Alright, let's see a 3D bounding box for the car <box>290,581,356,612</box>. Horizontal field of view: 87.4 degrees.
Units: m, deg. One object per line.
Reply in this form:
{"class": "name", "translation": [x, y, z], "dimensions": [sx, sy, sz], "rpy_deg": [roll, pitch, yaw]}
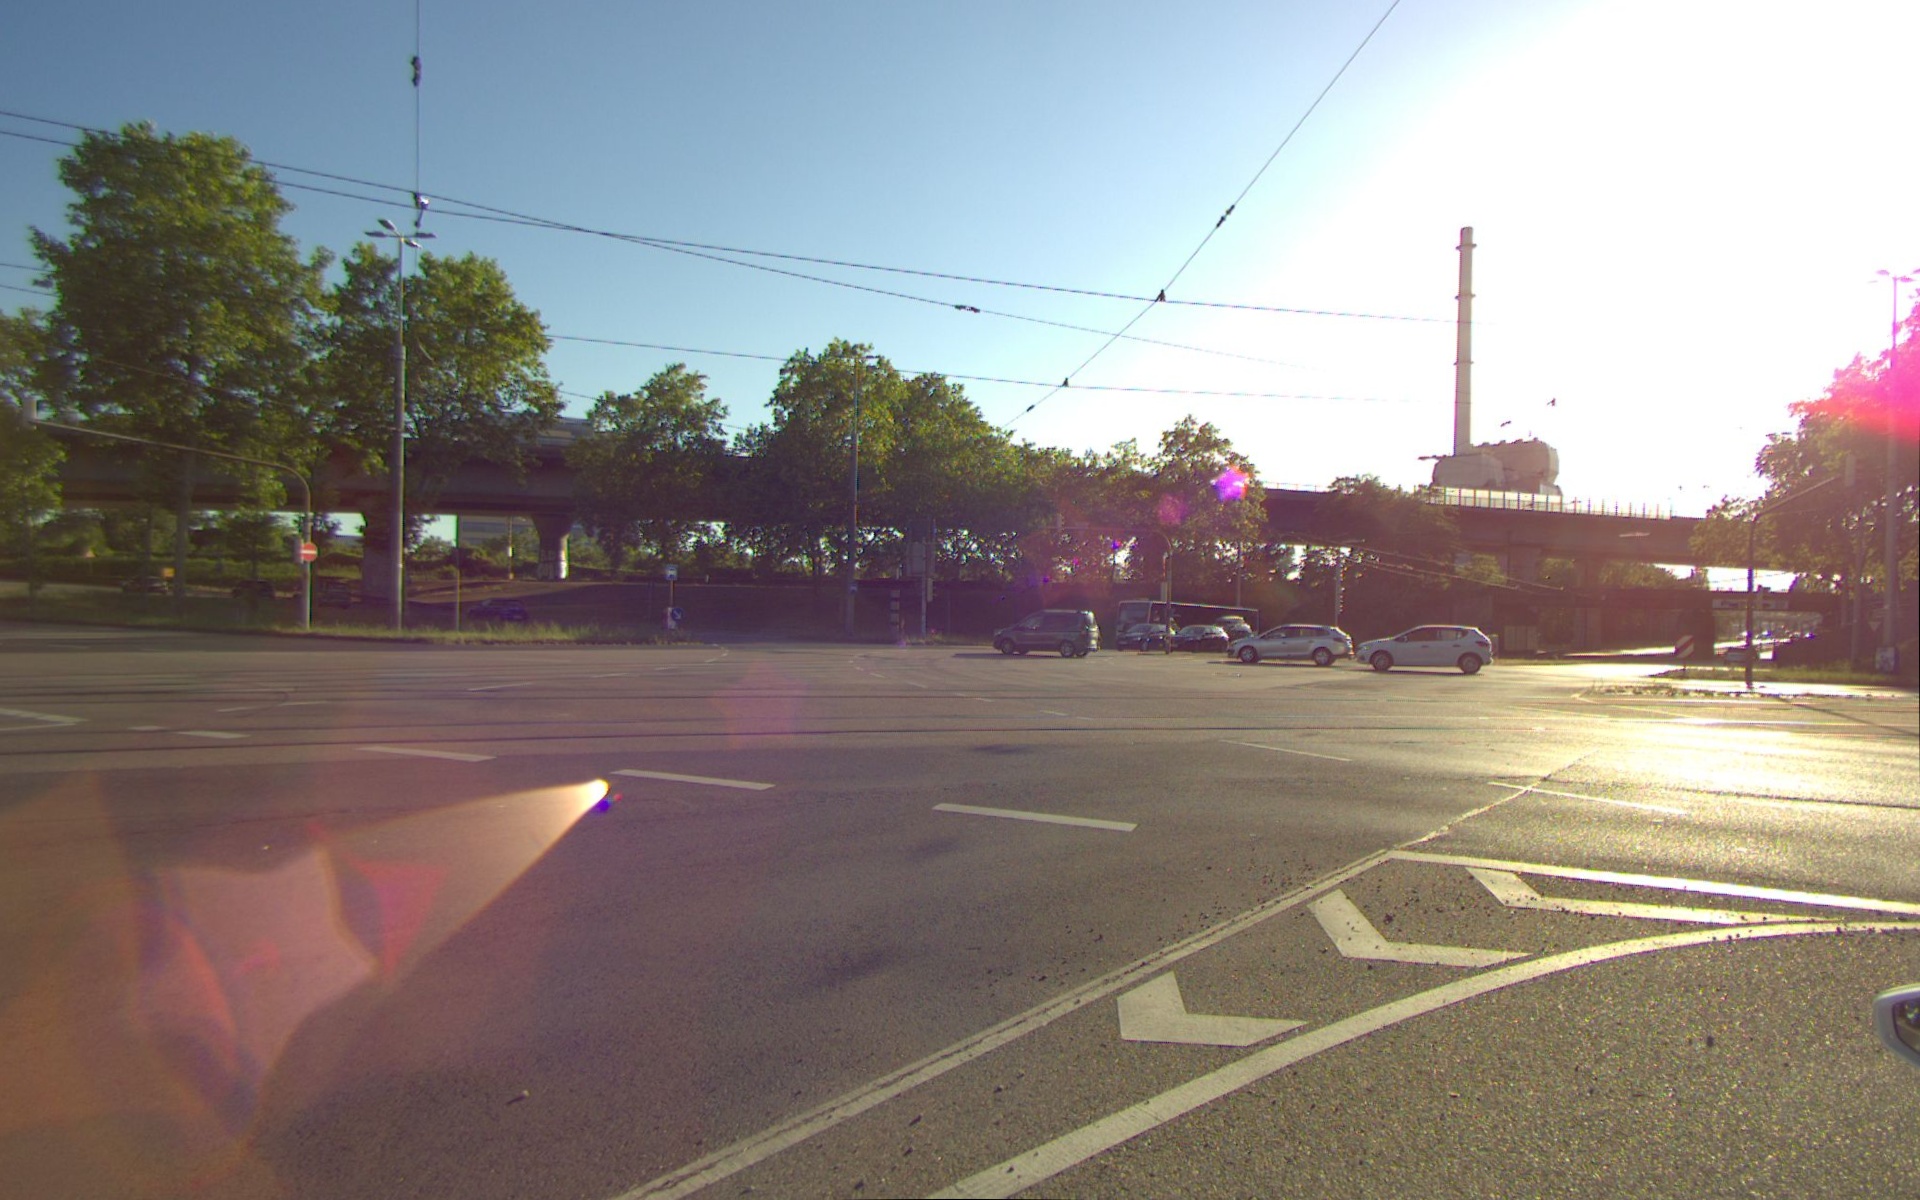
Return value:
{"class": "car", "translation": [-42.751, -0.261, 67.399], "dimensions": [4.624, 1.930, 1.995], "rpy_deg": [2, -1, 33]}

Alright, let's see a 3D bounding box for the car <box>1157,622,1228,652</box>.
{"class": "car", "translation": [11.915, 1.890, 51.299], "dimensions": [1.693, 1.372, 4.071], "rpy_deg": [1, -1, 43]}

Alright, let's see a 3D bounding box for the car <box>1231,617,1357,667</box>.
{"class": "car", "translation": [12.528, 1.537, 37.724], "dimensions": [4.288, 1.630, 1.855], "rpy_deg": [2, 0, 25]}

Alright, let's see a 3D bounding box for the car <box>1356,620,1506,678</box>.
{"class": "car", "translation": [15.132, 1.527, 32.447], "dimensions": [4.226, 1.630, 1.855], "rpy_deg": [2, 0, 25]}

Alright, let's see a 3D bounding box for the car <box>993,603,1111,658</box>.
{"class": "car", "translation": [3.514, 1.140, 38.417], "dimensions": [4.067, 1.892, 1.855], "rpy_deg": [2, 0, 25]}

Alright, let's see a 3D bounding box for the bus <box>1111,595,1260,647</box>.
{"class": "bus", "translation": [14.490, 1.395, 63.412], "dimensions": [2.793, 2.993, 12.773], "rpy_deg": [1, -1, 45]}

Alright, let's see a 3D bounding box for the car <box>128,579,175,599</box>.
{"class": "car", "translation": [-65.527, -0.874, 81.378], "dimensions": [3.666, 1.441, 1.694], "rpy_deg": [2, 0, 29]}

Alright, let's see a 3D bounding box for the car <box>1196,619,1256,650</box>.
{"class": "car", "translation": [15.632, 2.028, 58.928], "dimensions": [1.693, 1.674, 4.071], "rpy_deg": [1, -1, 43]}

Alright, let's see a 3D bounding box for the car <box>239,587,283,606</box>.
{"class": "car", "translation": [-55.532, -0.273, 79.809], "dimensions": [3.672, 1.441, 1.691], "rpy_deg": [2, -1, 35]}

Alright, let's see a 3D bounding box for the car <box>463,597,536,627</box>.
{"class": "car", "translation": [-25.919, 0.675, 56.542], "dimensions": [3.868, 1.579, 1.994], "rpy_deg": [1, -1, 34]}

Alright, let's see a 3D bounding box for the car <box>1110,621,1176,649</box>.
{"class": "car", "translation": [9.695, 1.853, 53.021], "dimensions": [1.586, 1.372, 3.980], "rpy_deg": [1, -1, 41]}

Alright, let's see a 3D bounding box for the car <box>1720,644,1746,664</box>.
{"class": "car", "translation": [69.239, 4.786, 89.937], "dimensions": [1.691, 1.674, 4.200], "rpy_deg": [2, -1, 40]}

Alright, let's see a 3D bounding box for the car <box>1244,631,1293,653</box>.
{"class": "car", "translation": [21.846, 2.980, 71.075], "dimensions": [1.681, 1.461, 3.977], "rpy_deg": [2, -1, 43]}

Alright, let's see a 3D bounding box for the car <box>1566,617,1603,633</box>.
{"class": "car", "translation": [81.303, 3.233, 130.772], "dimensions": [3.933, 1.794, 1.994], "rpy_deg": [3, 0, -15]}

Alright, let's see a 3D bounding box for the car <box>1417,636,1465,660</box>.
{"class": "car", "translation": [42.942, 4.274, 89.566], "dimensions": [5.385, 2.040, 1.975], "rpy_deg": [2, -1, -42]}

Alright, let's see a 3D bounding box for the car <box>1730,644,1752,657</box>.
{"class": "car", "translation": [90.169, 5.786, 115.921], "dimensions": [1.673, 1.441, 4.128], "rpy_deg": [2, -1, 43]}
